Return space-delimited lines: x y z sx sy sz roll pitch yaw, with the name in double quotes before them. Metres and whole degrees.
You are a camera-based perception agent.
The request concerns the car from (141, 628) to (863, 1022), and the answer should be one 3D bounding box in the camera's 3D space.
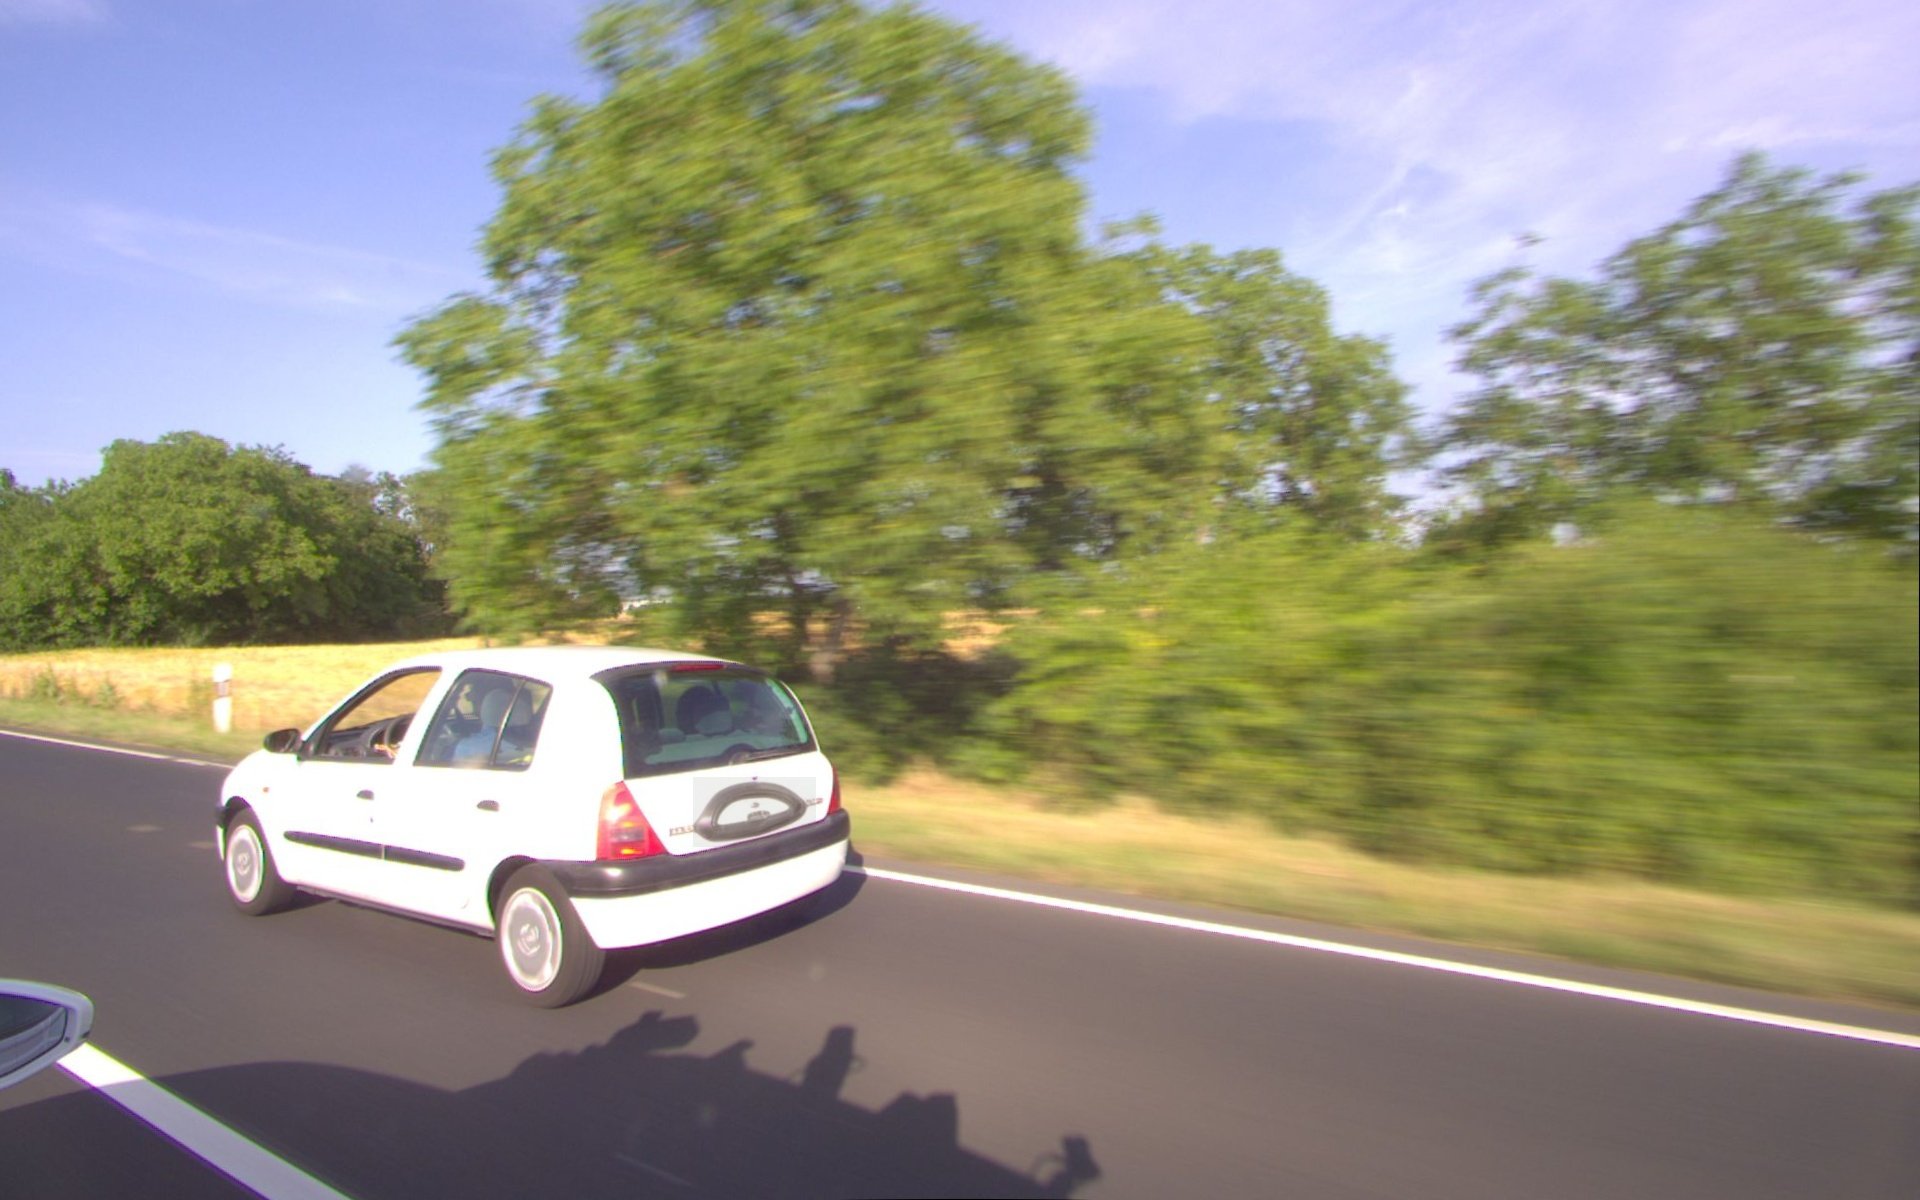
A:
"car" -2.552 0.901 5.328 3.895 1.404 1.615 -2 -3 32
